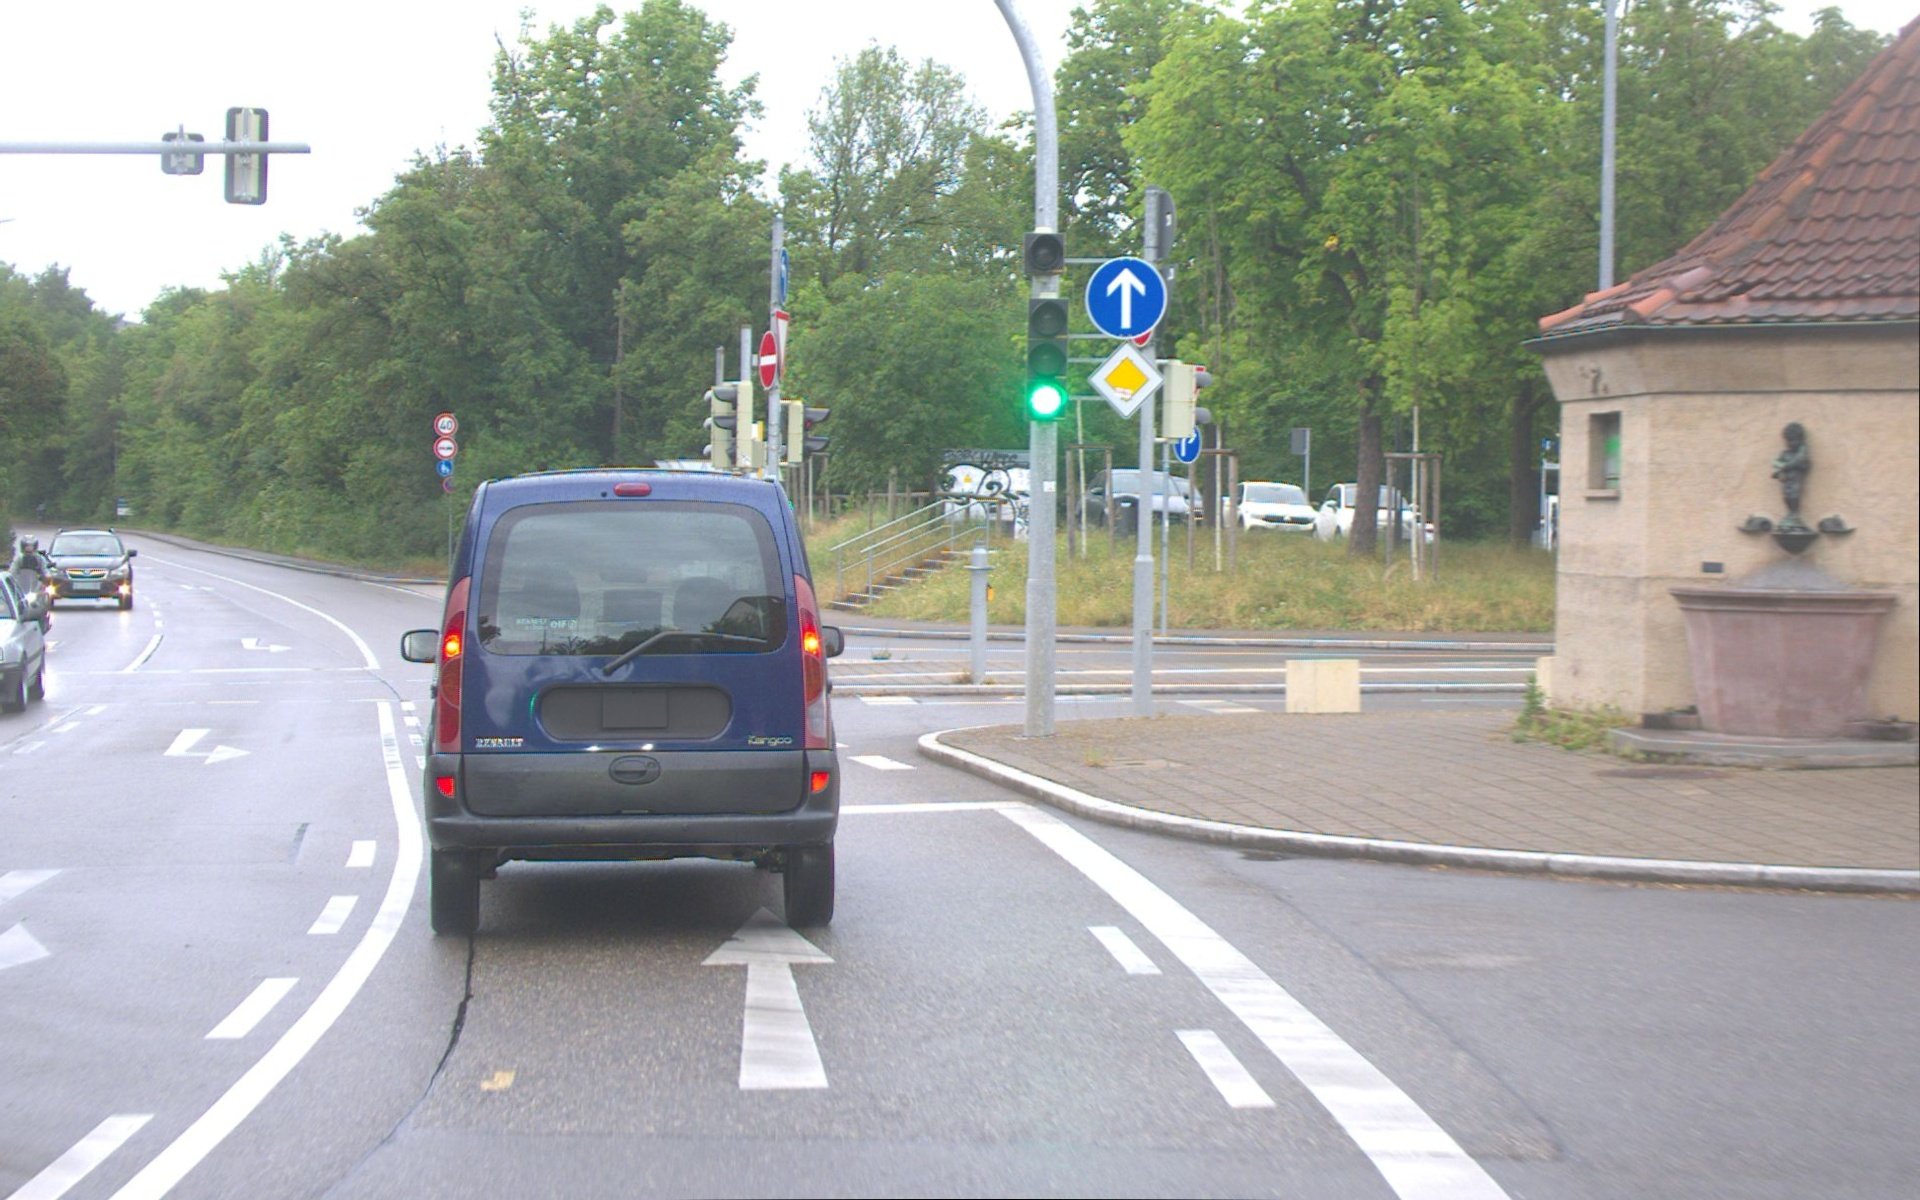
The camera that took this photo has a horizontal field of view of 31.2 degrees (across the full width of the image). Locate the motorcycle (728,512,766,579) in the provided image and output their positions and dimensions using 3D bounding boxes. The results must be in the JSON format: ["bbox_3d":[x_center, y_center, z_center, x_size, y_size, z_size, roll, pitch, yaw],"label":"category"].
[{"bbox_3d":[-4.150,-1.069,66.995,0.589,1.284,1.538,0,2,2],"label":"motorcycle"}]

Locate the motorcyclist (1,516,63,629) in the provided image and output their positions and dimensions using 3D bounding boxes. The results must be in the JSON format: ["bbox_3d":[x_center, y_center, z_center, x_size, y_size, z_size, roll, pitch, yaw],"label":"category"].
[{"bbox_3d":[-13.573,-0.412,50.289,0.745,1.626,0.927,-1,2,-9],"label":"motorcyclist"}]

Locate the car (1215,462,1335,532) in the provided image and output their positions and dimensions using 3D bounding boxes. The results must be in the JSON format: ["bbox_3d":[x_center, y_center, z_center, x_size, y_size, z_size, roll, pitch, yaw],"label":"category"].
[{"bbox_3d":[7.255,-2.369,79.644,1.885,1.475,4.070,3,0,-7],"label":"car"}]

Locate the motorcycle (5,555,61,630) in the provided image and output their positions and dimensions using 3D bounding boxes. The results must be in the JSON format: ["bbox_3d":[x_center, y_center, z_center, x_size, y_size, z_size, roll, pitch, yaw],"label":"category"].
[{"bbox_3d":[-13.565,-0.119,50.334,0.594,1.047,1.999,-1,2,-9],"label":"motorcycle"}]

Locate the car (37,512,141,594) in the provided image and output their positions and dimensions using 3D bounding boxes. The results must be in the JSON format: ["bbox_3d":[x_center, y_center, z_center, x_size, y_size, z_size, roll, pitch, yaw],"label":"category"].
[{"bbox_3d":[-17.712,-0.989,70.055,1.788,1.576,4.563,-1,2,-11],"label":"car"}]

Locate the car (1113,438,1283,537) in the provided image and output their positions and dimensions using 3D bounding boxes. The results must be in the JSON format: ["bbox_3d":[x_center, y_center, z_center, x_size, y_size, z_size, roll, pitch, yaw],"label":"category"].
[{"bbox_3d":[4.313,-2.066,62.934,1.993,1.656,4.002,3,2,-12],"label":"car"}]

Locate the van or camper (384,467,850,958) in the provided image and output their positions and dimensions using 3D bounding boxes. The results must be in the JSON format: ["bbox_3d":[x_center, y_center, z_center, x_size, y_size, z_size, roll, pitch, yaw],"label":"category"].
[{"bbox_3d":[-1.436,0.381,14.940,1.712,1.819,4.001,1,1,-4],"label":"van or camper"}]

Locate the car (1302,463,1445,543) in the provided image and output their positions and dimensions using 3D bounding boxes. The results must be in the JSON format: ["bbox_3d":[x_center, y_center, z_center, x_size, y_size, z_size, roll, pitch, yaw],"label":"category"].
[{"bbox_3d":[8.276,-1.921,69.177,1.885,1.475,4.070,2,1,-7],"label":"car"}]

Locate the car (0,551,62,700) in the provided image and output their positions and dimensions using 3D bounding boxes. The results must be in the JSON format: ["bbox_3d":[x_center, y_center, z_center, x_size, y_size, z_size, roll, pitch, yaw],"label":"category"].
[{"bbox_3d":[-10.087,0.225,34.416,1.740,1.347,4.211,-1,2,-10],"label":"car"}]

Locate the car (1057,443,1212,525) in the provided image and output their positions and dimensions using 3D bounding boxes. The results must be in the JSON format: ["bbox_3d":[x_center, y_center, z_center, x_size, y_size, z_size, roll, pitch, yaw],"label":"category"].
[{"bbox_3d":[3.409,-2.263,67.994,1.993,1.475,4.286,2,1,-11],"label":"car"}]

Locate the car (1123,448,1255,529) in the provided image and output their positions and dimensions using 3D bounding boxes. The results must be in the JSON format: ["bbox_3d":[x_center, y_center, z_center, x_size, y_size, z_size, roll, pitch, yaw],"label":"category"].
[{"bbox_3d":[5.073,-2.497,76.911,1.993,1.656,4.474,3,2,-8],"label":"car"}]
